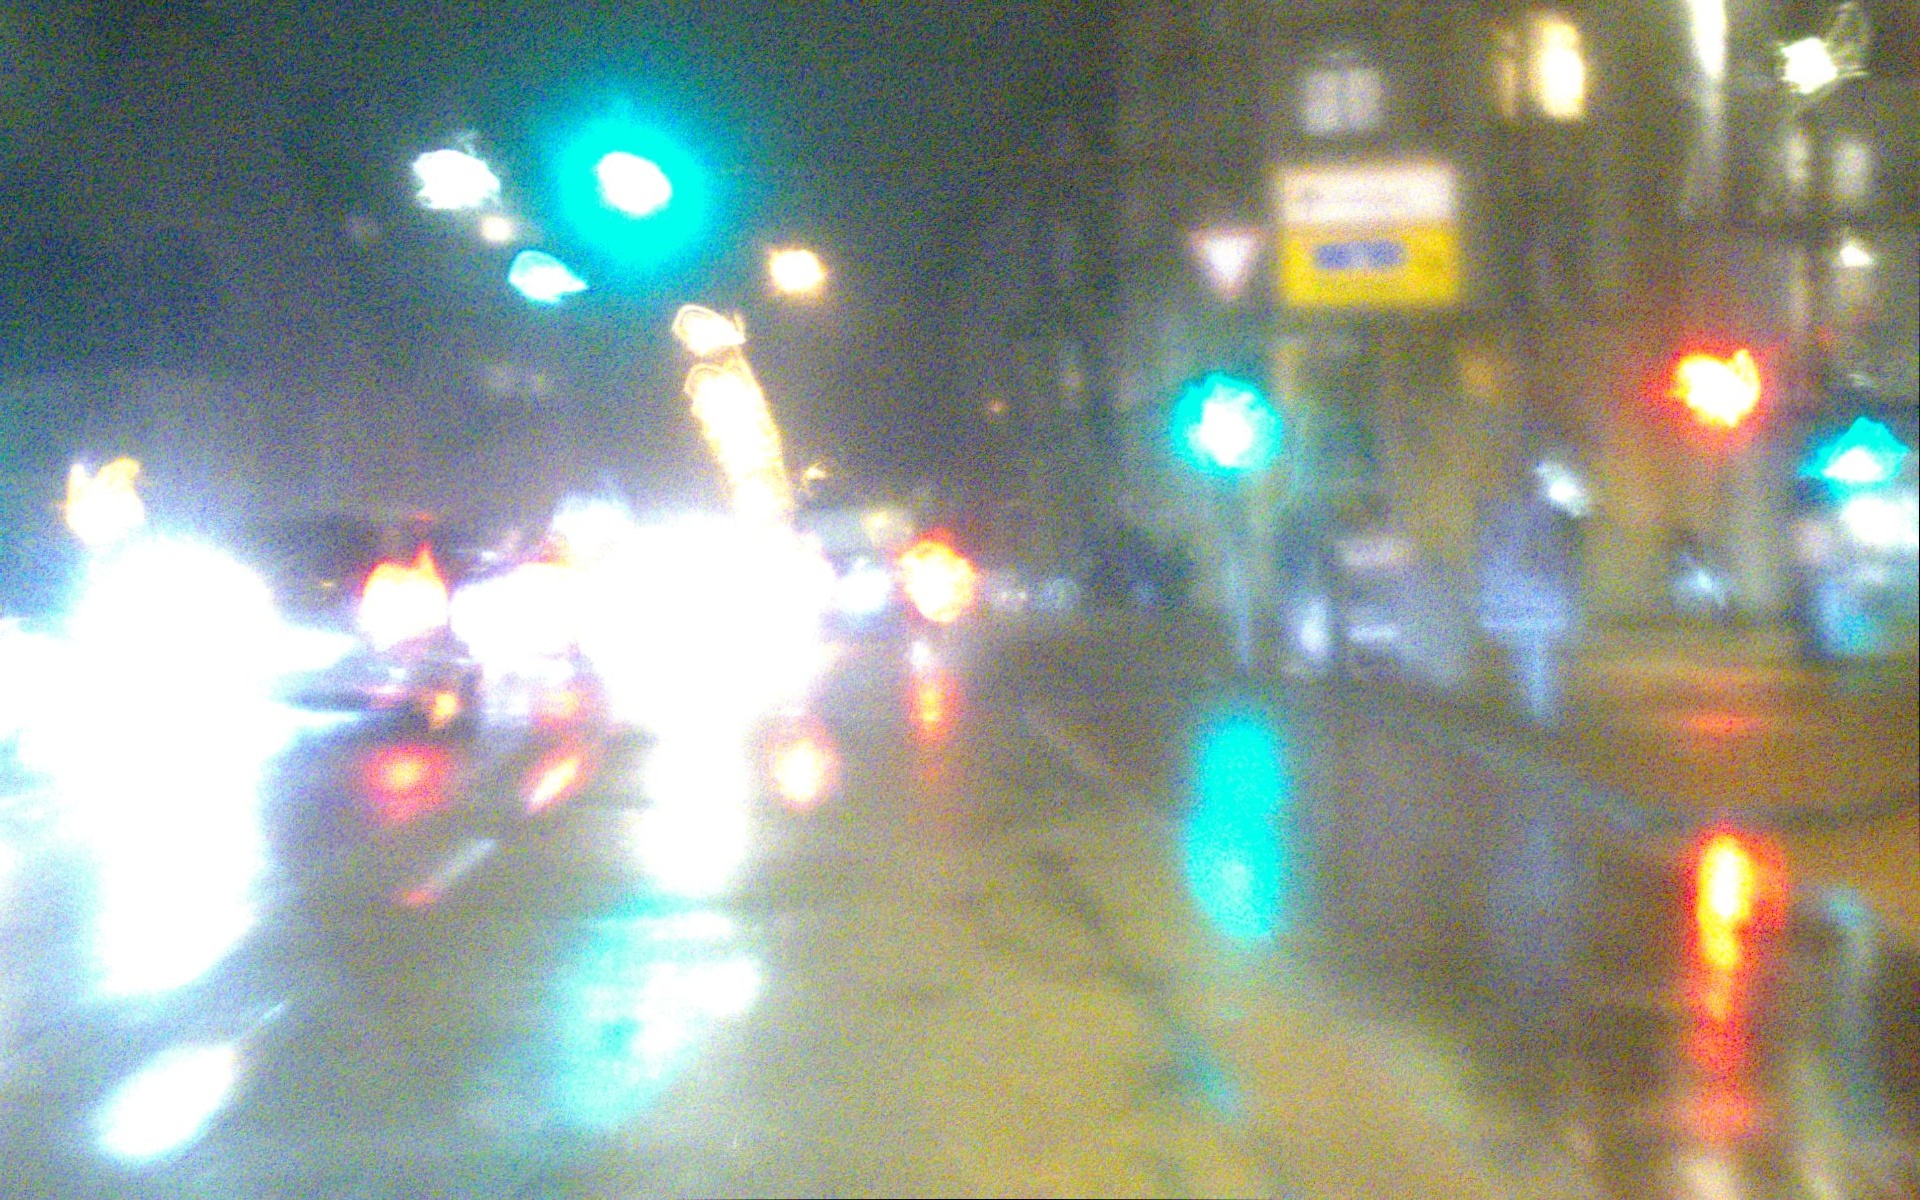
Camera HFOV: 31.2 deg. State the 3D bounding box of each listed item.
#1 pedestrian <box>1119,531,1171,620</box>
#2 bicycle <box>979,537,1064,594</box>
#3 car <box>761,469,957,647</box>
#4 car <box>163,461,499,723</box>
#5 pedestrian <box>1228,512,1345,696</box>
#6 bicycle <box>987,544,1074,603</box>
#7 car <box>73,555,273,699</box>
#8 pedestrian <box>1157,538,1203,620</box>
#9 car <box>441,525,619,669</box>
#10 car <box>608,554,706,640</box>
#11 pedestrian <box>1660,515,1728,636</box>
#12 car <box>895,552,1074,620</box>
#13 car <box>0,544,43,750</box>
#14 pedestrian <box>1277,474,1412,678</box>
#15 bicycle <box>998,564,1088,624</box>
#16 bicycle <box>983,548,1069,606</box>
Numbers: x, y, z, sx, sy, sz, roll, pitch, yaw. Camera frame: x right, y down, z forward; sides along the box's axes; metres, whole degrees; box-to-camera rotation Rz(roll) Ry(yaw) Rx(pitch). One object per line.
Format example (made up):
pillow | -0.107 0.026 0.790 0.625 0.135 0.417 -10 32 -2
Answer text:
pedestrian | 3.964 -0.524 73.697 0.957 1.875 1.000 -2 1 -3
bicycle | 1.458 -0.814 81.663 1.896 1.247 0.596 -3 0 -8
car | -1.273 -0.500 41.424 2.168 1.965 4.302 -2 1 -3
car | -5.322 -0.132 29.803 2.034 1.947 5.201 -4 2 -2
pedestrian | 3.324 0.033 35.070 1.107 1.819 0.851 -2 1 4
bicycle | 1.646 -0.618 80.333 1.896 1.247 0.596 -3 0 -8
car | -9.444 0.285 41.524 1.645 1.506 4.109 -4 1 -4
pedestrian | 4.430 -0.421 69.289 0.781 1.612 1.000 -2 1 -3
car | -4.946 -0.050 40.070 1.817 1.537 4.727 -1 0 -5
car | -5.775 -0.064 65.216 1.706 1.537 3.990 -1 0 -6
pedestrian | 12.728 -0.432 59.618 0.974 2.006 1.015 -2 3 19
car | 0.631 -0.354 84.939 4.174 1.452 1.856 -4 2 -41
car | -7.938 0.394 24.554 1.852 1.494 4.771 -2 1 -5
pedestrian | 3.529 -0.228 31.634 1.107 1.819 0.851 -2 1 1
bicycle | 1.900 -0.136 78.853 1.896 1.247 0.710 -3 0 -8
bicycle | 1.558 -0.536 81.008 1.896 1.247 0.596 -3 0 -8
